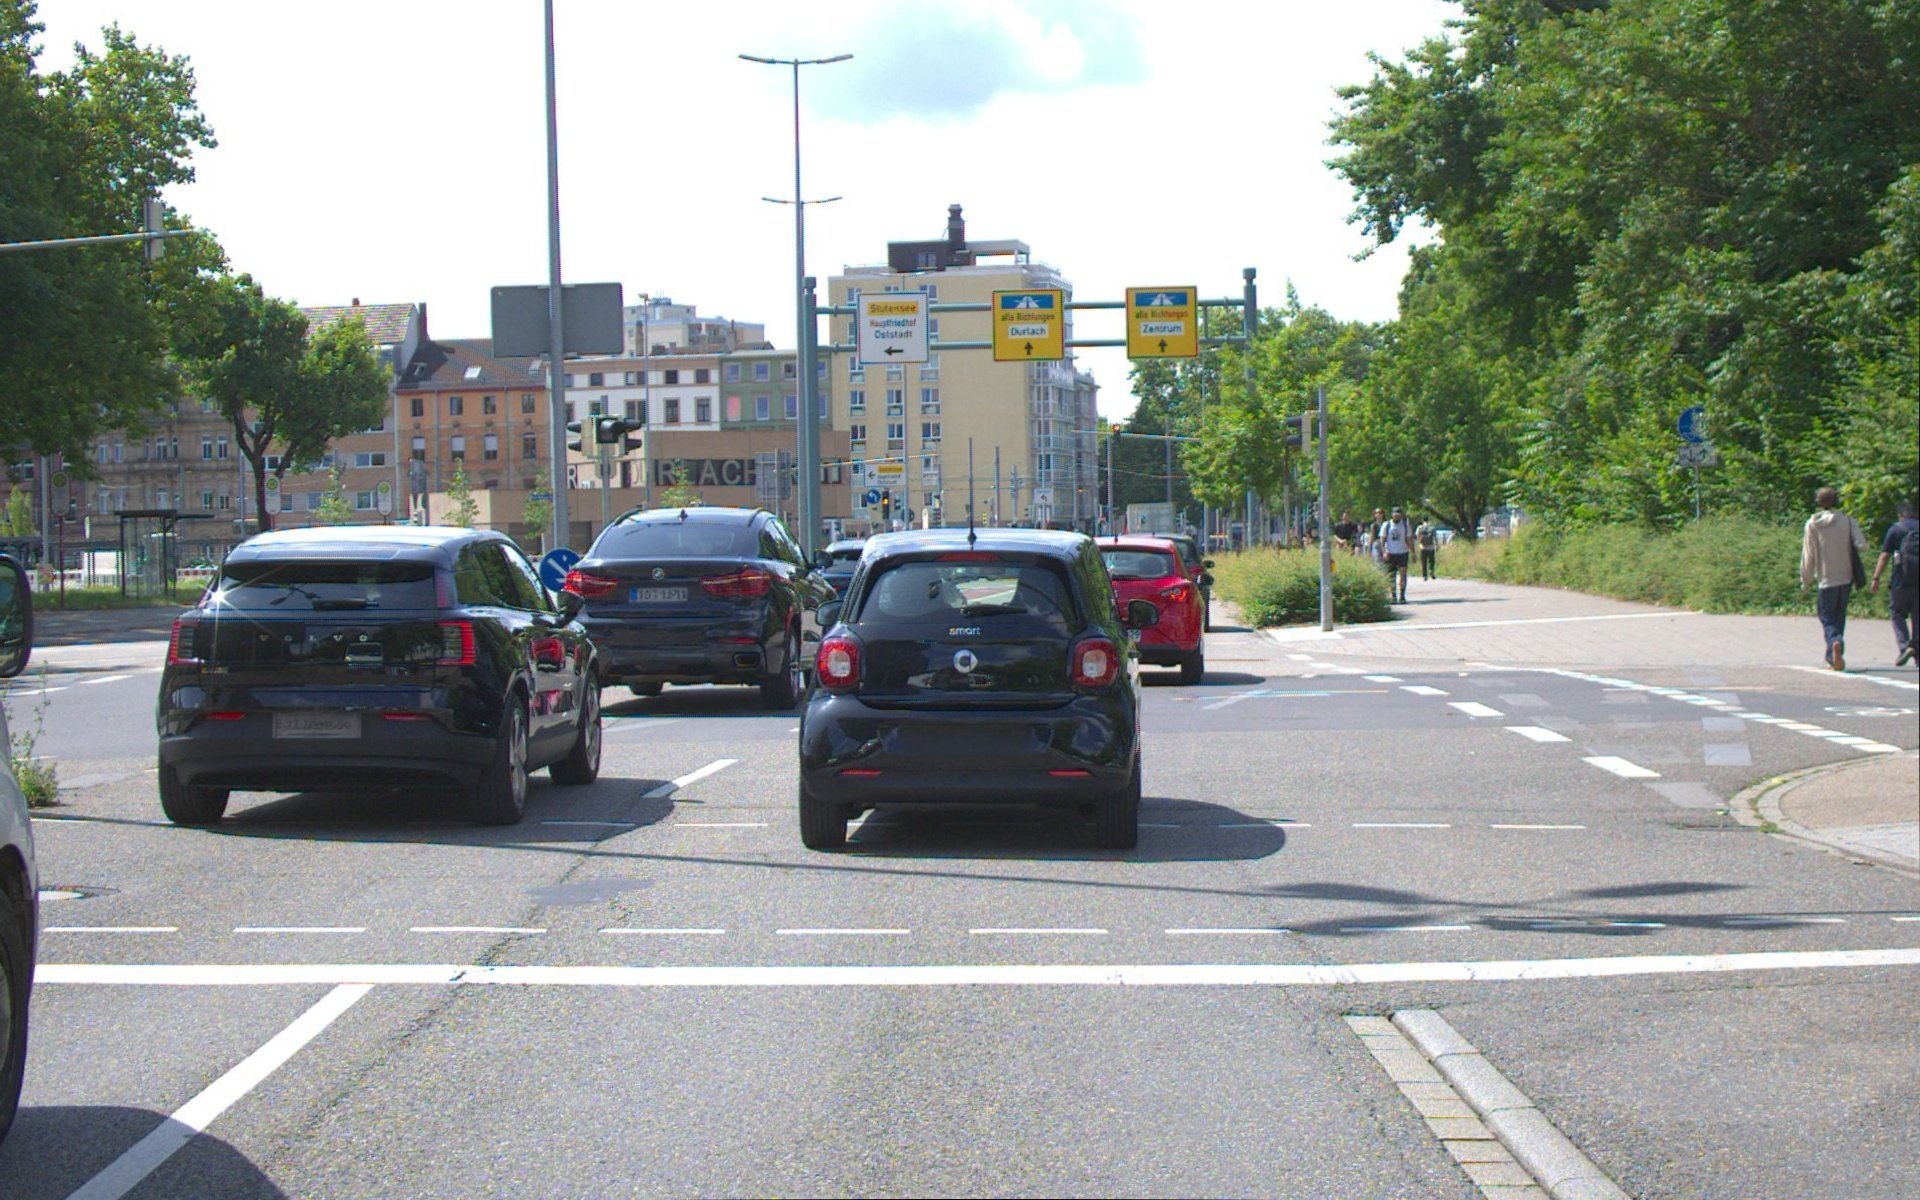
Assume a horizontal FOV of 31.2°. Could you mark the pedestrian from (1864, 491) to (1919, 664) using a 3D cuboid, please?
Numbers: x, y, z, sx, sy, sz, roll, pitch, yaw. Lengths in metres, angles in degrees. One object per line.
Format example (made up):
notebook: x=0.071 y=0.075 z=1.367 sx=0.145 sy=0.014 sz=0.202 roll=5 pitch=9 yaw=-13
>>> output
pedestrian: x=9.524 y=-0.240 z=34.460 sx=0.795 sy=1.698 sz=1.182 roll=0 pitch=2 yaw=10

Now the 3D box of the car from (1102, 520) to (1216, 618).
car: x=3.012 y=-0.500 z=52.452 sx=1.611 sy=1.406 sz=3.517 roll=1 pitch=2 yaw=2

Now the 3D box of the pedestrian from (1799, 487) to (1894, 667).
pedestrian: x=8.570 y=-0.232 z=33.271 sx=0.795 sy=1.698 sz=1.182 roll=0 pitch=2 yaw=10

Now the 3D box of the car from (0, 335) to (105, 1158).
car: x=-3.270 y=0.391 z=6.533 sx=2.006 sy=1.948 sz=5.194 roll=-1 pitch=1 yaw=0

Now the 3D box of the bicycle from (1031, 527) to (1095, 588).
bicycle: x=3.445 y=-1.425 z=115.473 sx=1.993 sy=2.007 sz=4.000 roll=0 pitch=1 yaw=0

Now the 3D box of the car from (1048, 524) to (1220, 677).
car: x=1.696 y=-0.035 z=34.299 sx=1.611 sy=1.406 sz=3.517 roll=1 pitch=2 yaw=2

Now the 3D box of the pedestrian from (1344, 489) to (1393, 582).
pedestrian: x=8.277 y=-1.314 z=69.697 sx=0.838 sy=1.861 sz=1.019 roll=-1 pitch=1 yaw=0

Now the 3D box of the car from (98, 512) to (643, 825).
car: x=-3.125 y=0.273 z=19.327 sx=2.017 sy=1.524 sz=4.887 roll=0 pitch=2 yaw=3

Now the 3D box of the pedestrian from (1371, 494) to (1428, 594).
pedestrian: x=7.733 y=-0.984 z=60.507 sx=0.851 sy=1.695 sz=0.931 roll=-3 pitch=1 yaw=2

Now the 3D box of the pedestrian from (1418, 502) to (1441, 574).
pedestrian: x=12.387 y=-1.636 z=90.631 sx=0.501 sy=1.884 sz=0.560 roll=0 pitch=1 yaw=-1

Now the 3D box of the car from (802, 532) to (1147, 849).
car: x=0.114 y=0.391 z=17.829 sx=1.611 sy=1.480 sz=3.517 roll=0 pitch=1 yaw=2

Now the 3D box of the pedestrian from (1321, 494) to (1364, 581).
pedestrian: x=8.768 y=-1.439 z=78.823 sx=0.838 sy=1.962 sz=0.861 roll=-1 pitch=1 yaw=0

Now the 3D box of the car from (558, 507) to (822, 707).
car: x=-2.260 y=-0.003 z=29.866 sx=1.827 sy=1.595 sz=4.393 roll=0 pitch=2 yaw=2

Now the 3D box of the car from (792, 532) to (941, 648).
car: x=-1.110 y=-0.149 z=42.183 sx=1.611 sy=1.320 sz=3.517 roll=-1 pitch=2 yaw=2
